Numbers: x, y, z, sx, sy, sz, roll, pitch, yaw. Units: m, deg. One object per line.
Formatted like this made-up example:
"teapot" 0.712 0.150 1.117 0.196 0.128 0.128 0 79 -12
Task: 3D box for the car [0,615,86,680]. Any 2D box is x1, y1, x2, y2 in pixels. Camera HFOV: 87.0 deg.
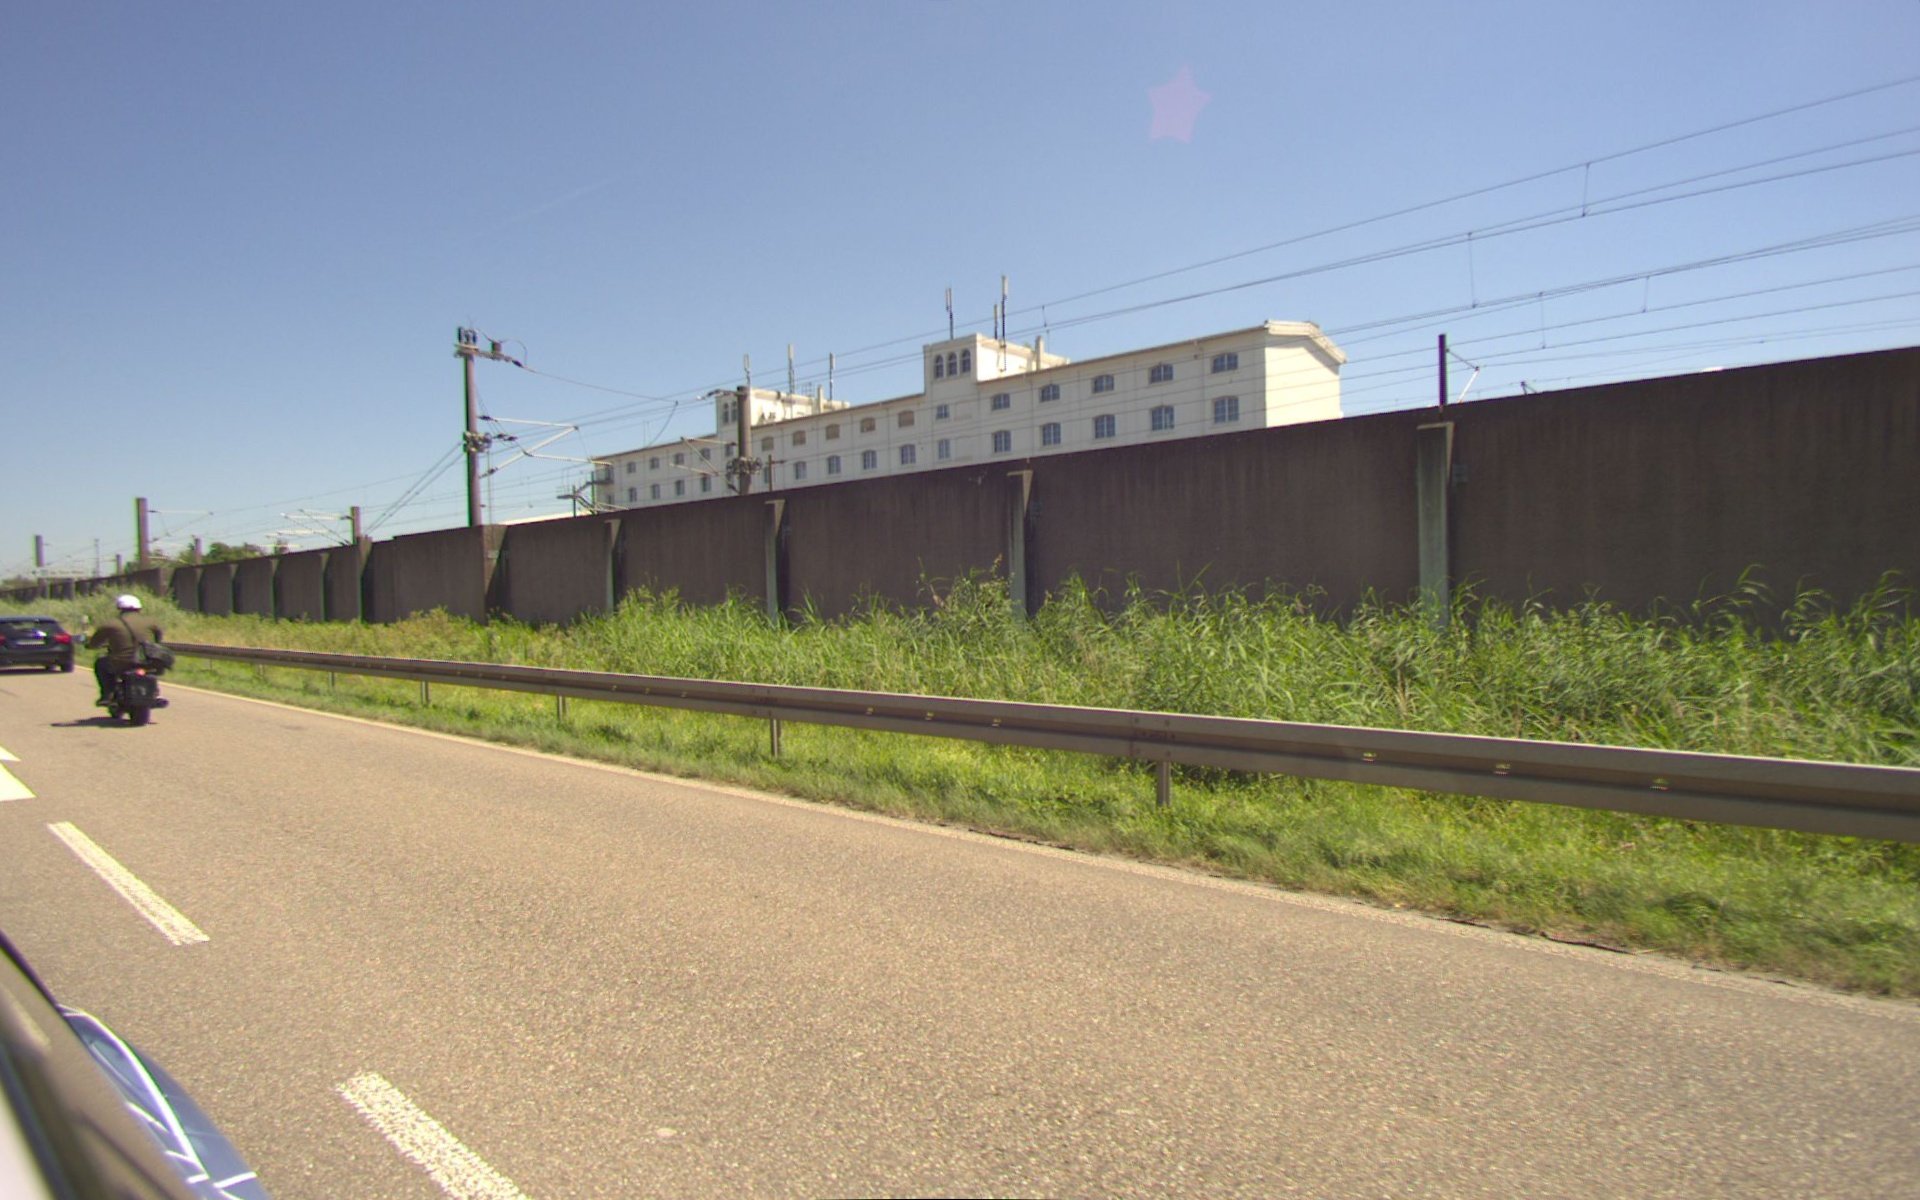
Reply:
"car" -23.937 1.162 25.721 3.996 1.519 1.974 -1 -1 40

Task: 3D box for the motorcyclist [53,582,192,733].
"motorcyclist" -11.135 0.722 13.454 1.245 1.878 1.241 -1 -1 41

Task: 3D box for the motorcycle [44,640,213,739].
"motorcycle" -11.051 1.110 13.396 3.127 1.081 1.224 -1 -1 41
